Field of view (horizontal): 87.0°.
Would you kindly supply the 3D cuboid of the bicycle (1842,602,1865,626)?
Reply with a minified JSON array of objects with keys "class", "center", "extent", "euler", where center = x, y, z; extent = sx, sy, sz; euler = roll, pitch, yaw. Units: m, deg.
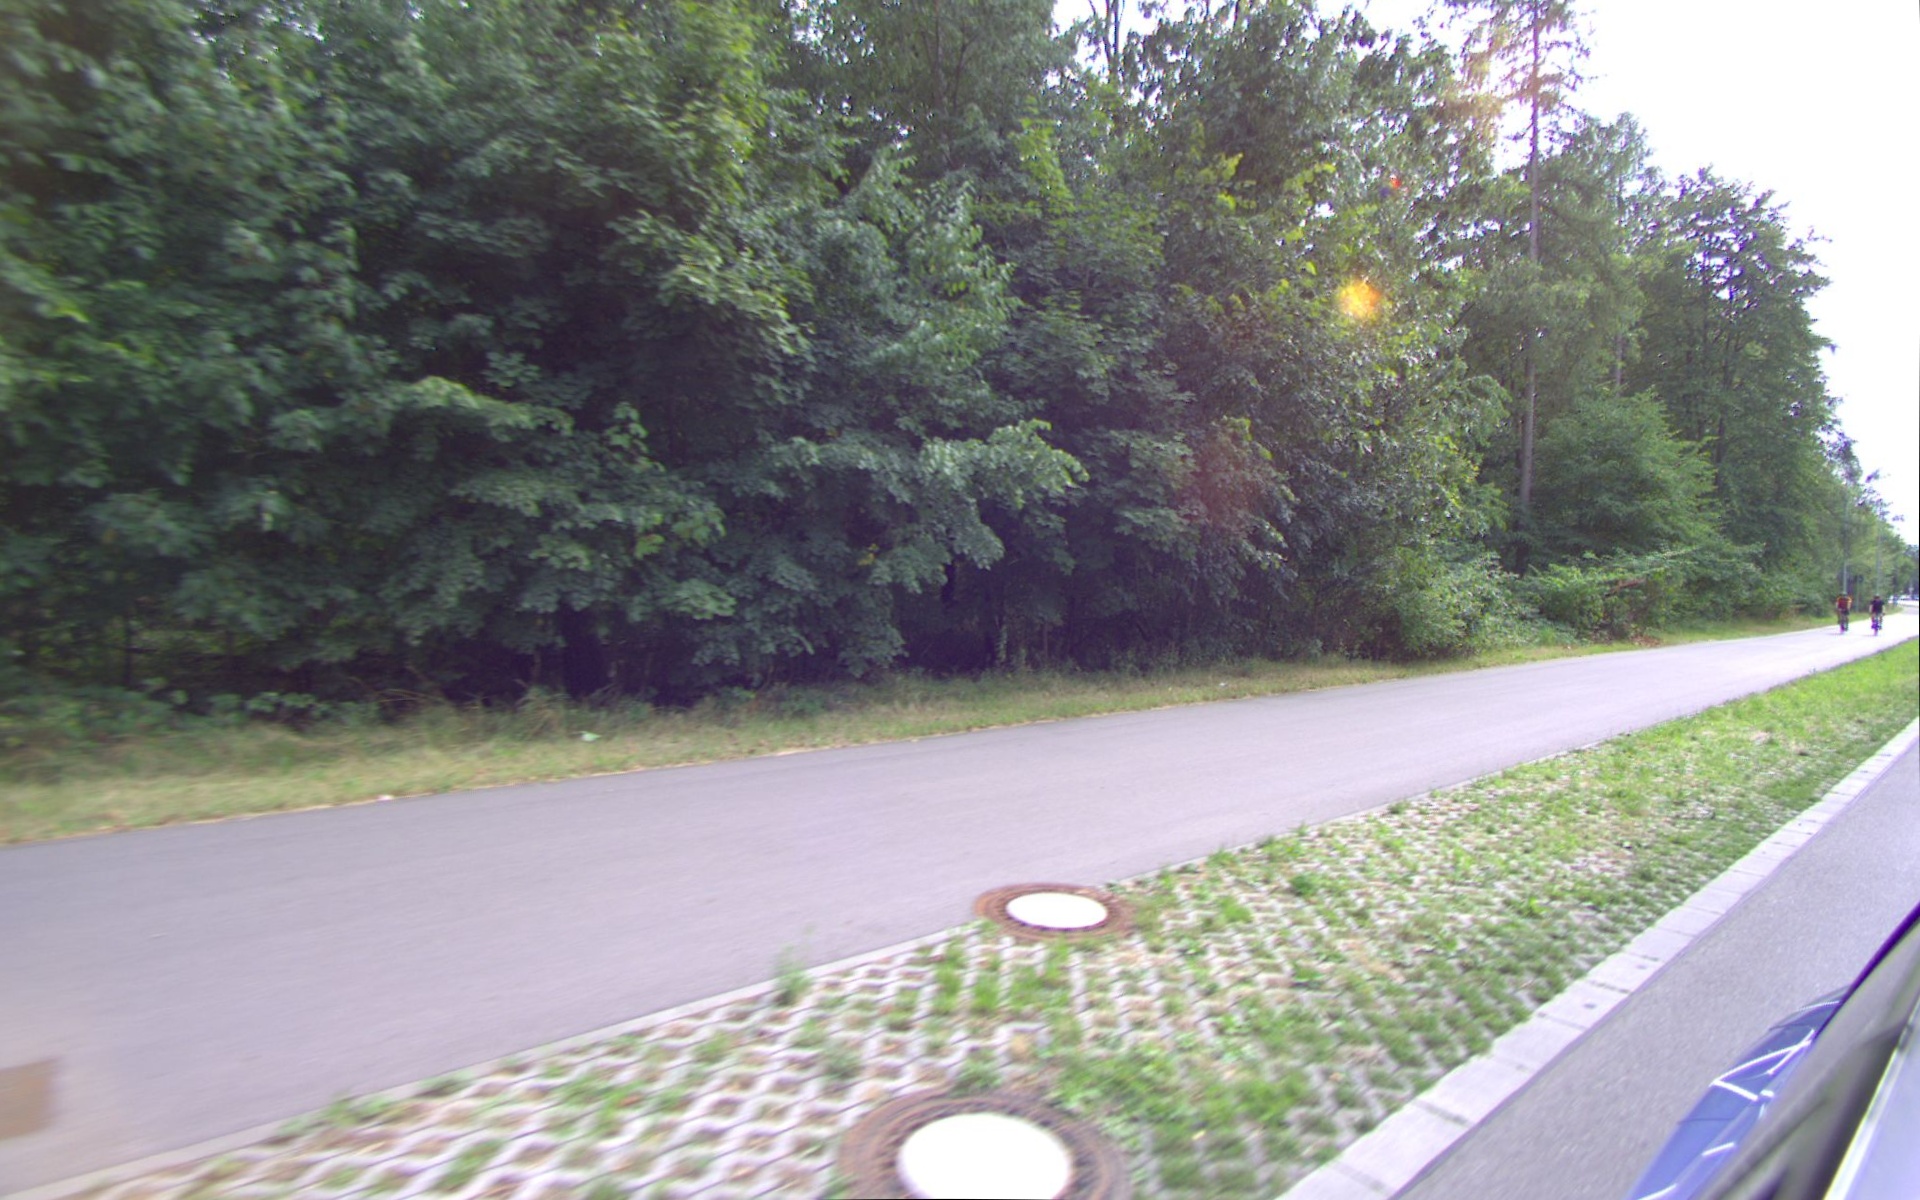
[{"class":"bicycle","center":[37.103,0.586,42.023],"extent":[0.566,0.923,1.856],"euler":[5,3,44]}]

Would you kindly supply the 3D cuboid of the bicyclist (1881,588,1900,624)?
[{"class":"bicyclist","center":[37.941,0.222,41.259],"extent":[0.520,1.433,1.167],"euler":[1,2,44]}]

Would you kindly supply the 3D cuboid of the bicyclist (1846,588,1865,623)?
[{"class":"bicyclist","center":[37.213,0.208,42.069],"extent":[0.520,1.433,1.167],"euler":[-1,0,45]}]

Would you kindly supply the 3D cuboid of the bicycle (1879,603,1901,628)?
[{"class":"bicycle","center":[37.904,0.636,41.252],"extent":[0.566,0.923,1.726],"euler":[4,4,44]}]
